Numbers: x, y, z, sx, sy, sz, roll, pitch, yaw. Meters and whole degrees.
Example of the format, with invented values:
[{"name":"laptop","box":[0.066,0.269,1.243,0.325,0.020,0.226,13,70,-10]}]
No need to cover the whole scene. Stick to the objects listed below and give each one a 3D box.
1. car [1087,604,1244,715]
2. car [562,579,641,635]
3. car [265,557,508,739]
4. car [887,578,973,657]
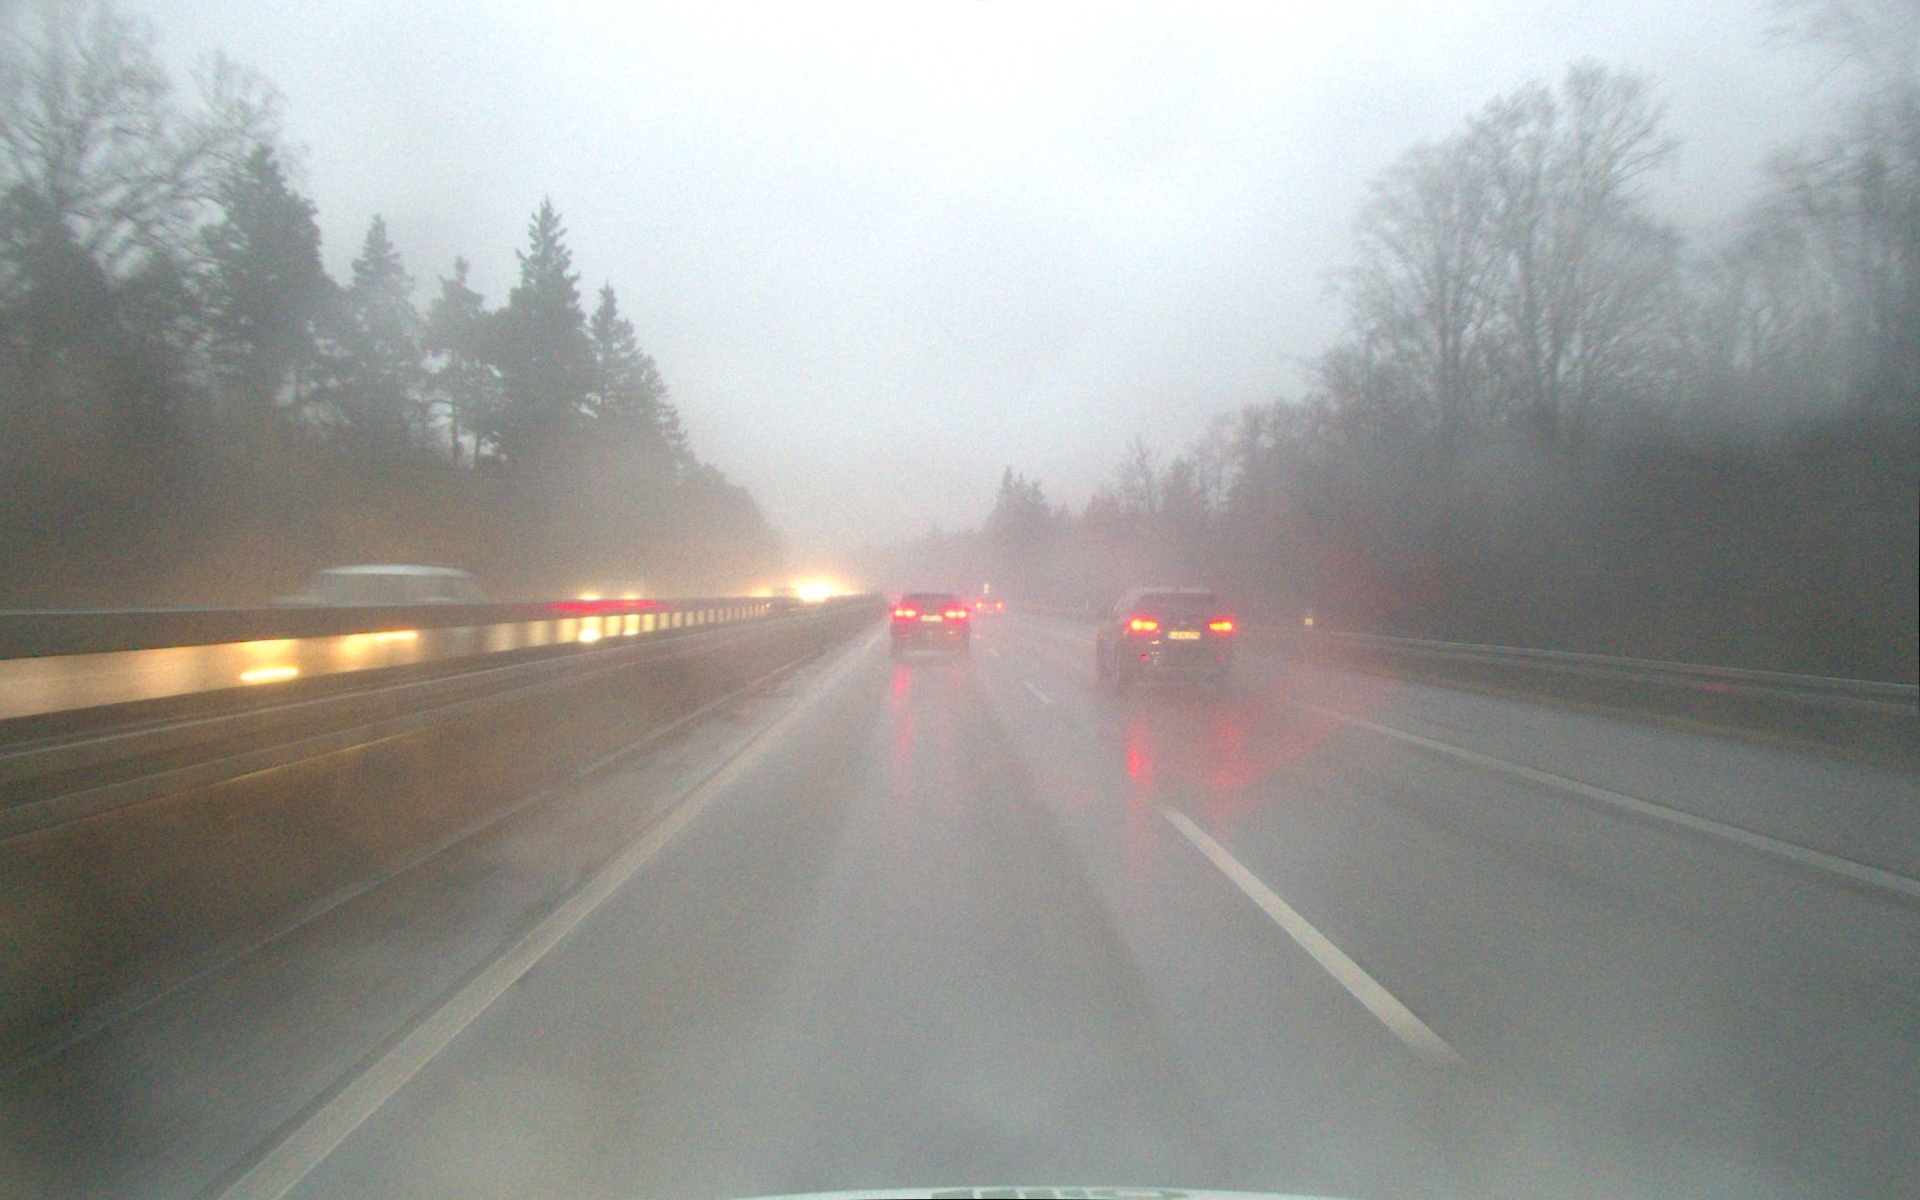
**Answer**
[{"name":"car","box":[3.439,0.947,28.539,2.028,1.727,4.460,1,0,-2]},{"name":"car","box":[-13.365,0.252,61.967,1.953,1.984,4.711,1,0,-1]},{"name":"car","box":[-7.407,0.566,21.842,1.687,2.124,4.518,1,0,-1]},{"name":"car","box":[-0.734,0.395,39.815,1.946,1.798,4.172,0,0,-1]}]
